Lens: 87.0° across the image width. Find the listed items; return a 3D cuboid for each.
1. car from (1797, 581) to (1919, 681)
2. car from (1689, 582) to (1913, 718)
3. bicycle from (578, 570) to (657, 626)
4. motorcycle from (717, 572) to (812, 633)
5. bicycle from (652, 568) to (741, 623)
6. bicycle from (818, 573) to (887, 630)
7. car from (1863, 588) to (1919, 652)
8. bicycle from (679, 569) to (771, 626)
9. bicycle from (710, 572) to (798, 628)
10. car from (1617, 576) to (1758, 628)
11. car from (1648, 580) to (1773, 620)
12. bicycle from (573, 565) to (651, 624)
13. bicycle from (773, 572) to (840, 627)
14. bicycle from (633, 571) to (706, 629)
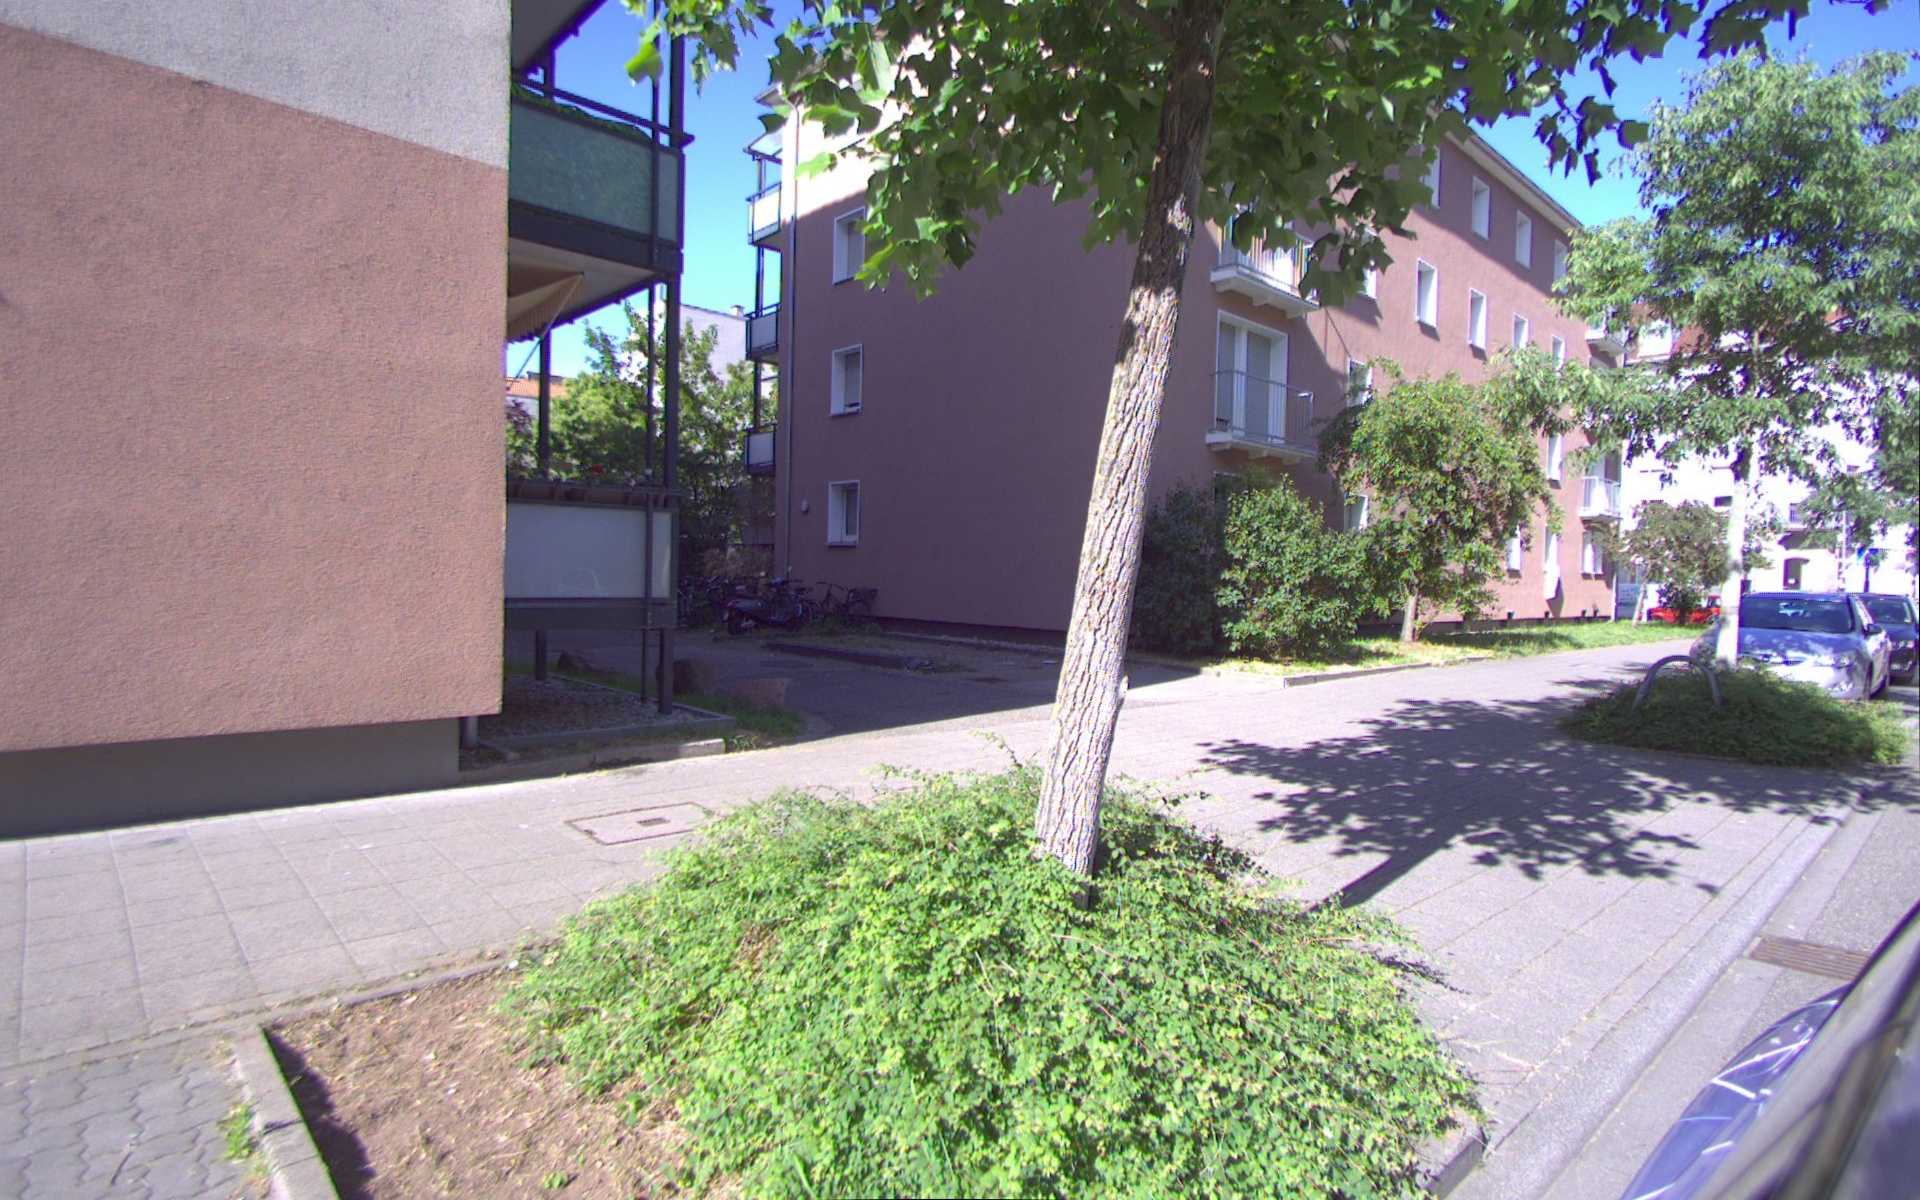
[{"bbox_3d":[15.845,0.463,17.400,4.238,1.500,1.660,0,2,-43],"label":"car"},{"bbox_3d":[11.168,0.529,13.346,3.932,1.471,1.719,-1,3,-42],"label":"car"},{"bbox_3d":[-7.137,-0.046,21.111,1.454,1.112,0.556,0,1,-41],"label":"bicycle"},{"bbox_3d":[-3.725,0.036,19.348,1.741,1.120,0.526,0,2,-42],"label":"motorcycle"},{"bbox_3d":[-5.794,-0.114,22.320,1.848,1.166,0.577,0,1,-41],"label":"bicycle"},{"bbox_3d":[-2.216,0.016,20.705,0.584,1.112,1.537,0,2,-43],"label":"bicycle"},{"bbox_3d":[23.313,0.466,24.500,3.931,1.446,1.734,0,2,-42],"label":"car"},{"bbox_3d":[-5.004,-0.058,21.622,1.848,1.166,0.577,0,1,-41],"label":"bicycle"},{"bbox_3d":[-4.265,-0.009,20.999,1.741,1.120,0.567,0,2,-42],"label":"bicycle"},{"bbox_3d":[31.445,0.035,43.841,4.743,2.038,1.969,2,2,43],"label":"car"},{"bbox_3d":[28.826,-0.030,38.932,1.541,1.419,3.644,0,2,-42],"label":"car"},{"bbox_3d":[-7.432,-0.118,21.640,1.454,1.220,0.556,0,1,-41],"label":"bicycle"},{"bbox_3d":[-3.340,-0.022,21.920,0.548,1.112,1.716,0,2,-43],"label":"bicycle"},{"bbox_3d":[-5.922,-0.019,20.587,1.711,1.112,0.549,2,1,39],"label":"bicycle"}]
